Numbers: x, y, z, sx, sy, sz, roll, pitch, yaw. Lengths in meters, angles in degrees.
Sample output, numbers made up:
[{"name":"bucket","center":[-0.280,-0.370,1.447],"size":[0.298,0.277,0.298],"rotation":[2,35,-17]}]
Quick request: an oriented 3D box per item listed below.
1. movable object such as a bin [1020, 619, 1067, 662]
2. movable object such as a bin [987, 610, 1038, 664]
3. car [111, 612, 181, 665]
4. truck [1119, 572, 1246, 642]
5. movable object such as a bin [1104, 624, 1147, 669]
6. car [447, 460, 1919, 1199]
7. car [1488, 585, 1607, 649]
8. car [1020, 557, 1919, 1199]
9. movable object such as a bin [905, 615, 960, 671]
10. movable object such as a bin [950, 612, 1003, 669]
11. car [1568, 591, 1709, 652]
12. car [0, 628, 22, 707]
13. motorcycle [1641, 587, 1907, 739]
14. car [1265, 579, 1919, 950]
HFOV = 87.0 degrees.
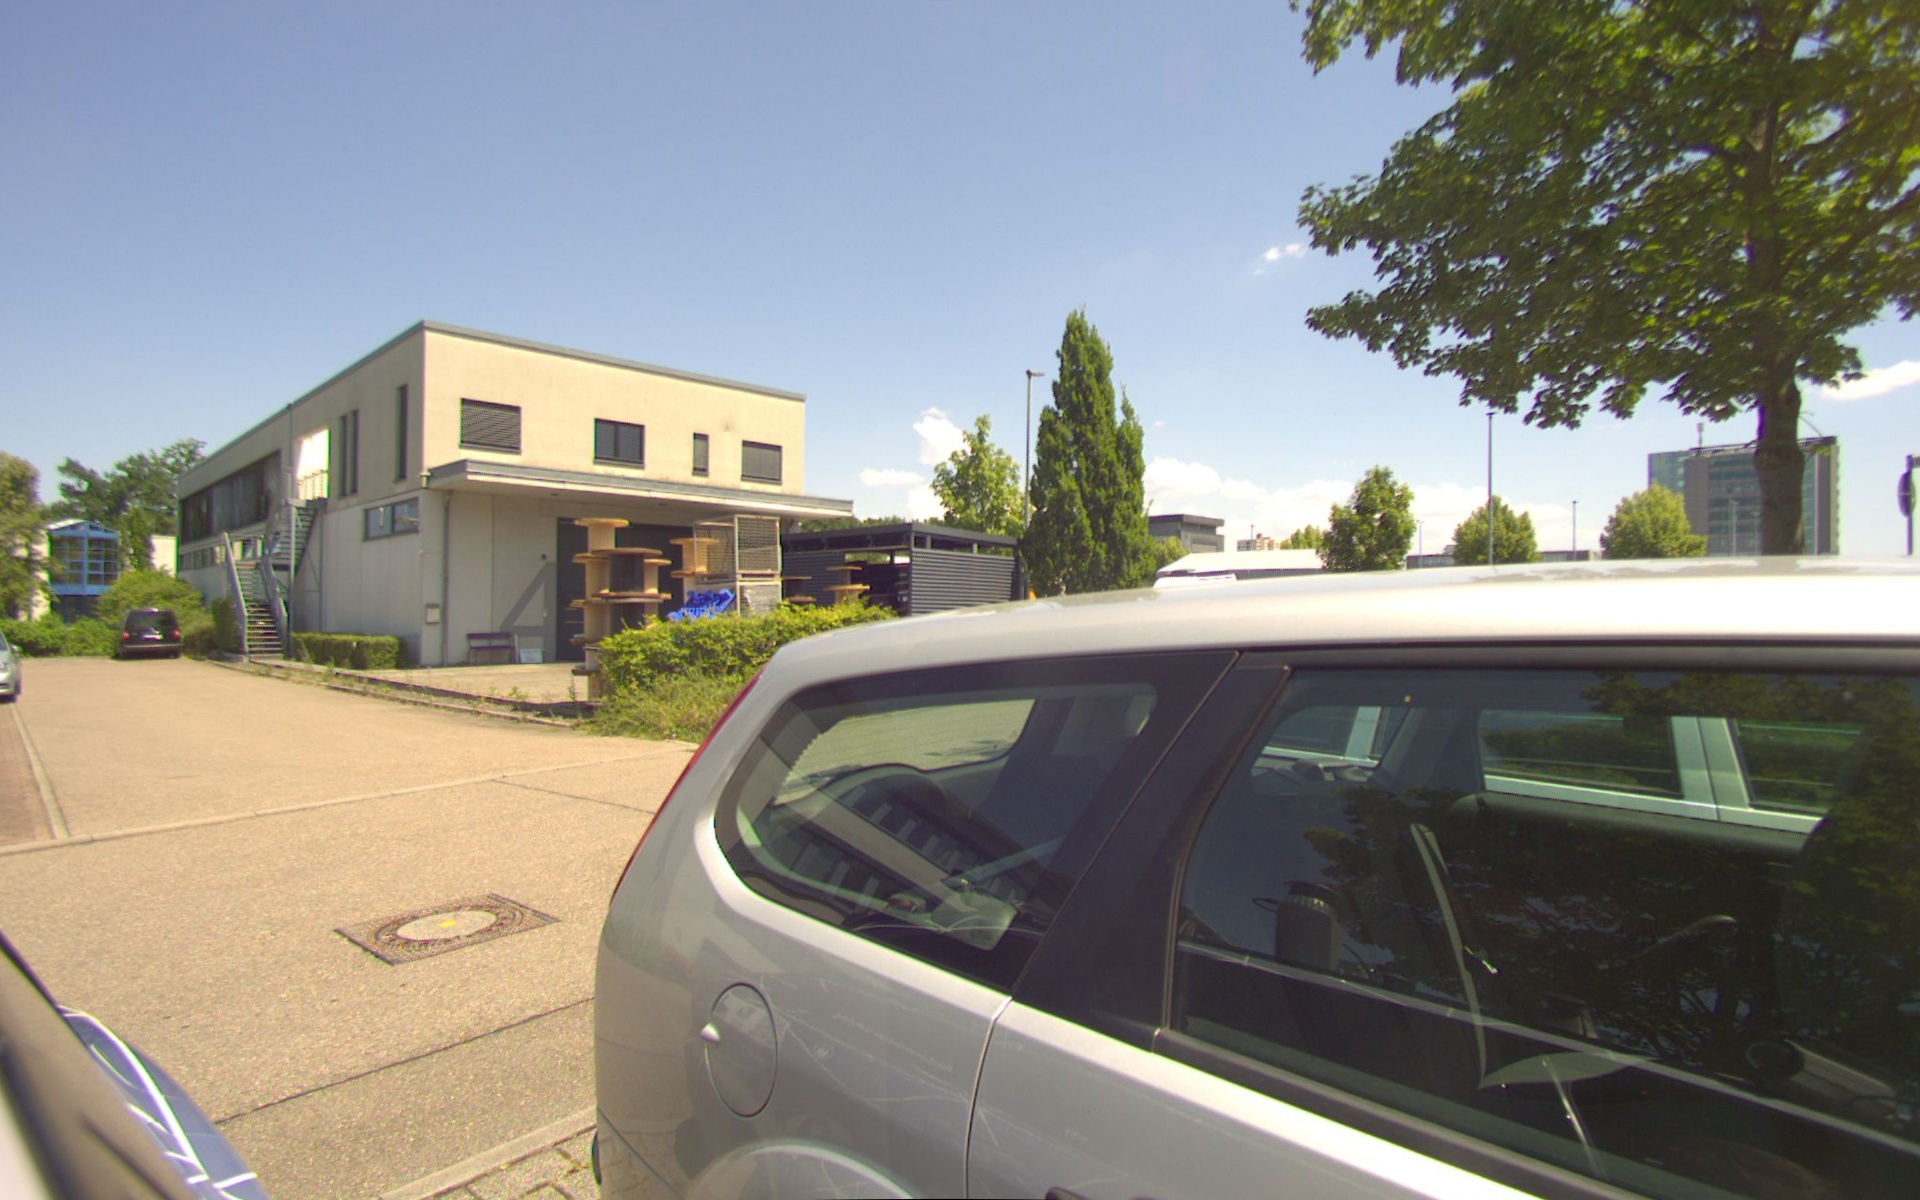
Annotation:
[{"name":"movable object such as a bin","center":[2.210,1.054,26.759],"size":[0.972,1.092,0.761],"rotation":[-1,-1,-40]},{"name":"movable object such as a bin","center":[1.357,0.938,26.079],"size":[1.056,1.346,0.761],"rotation":[-1,-1,-40]},{"name":"car","center":[-30.046,1.362,37.322],"size":[1.761,1.817,4.004],"rotation":[-1,0,-43]},{"name":"truck","center":[9.208,0.264,41.632],"size":[5.614,2.692,2.420],"rotation":[-1,-1,-45]},{"name":"movable object such as a bin","center":[3.764,1.048,23.093],"size":[0.581,0.977,0.761],"rotation":[-1,-1,-40]},{"name":"car","center":[1.299,0.659,1.009],"size":[4.346,1.490,1.702],"rotation":[-1,-1,41]},{"name":"car","center":[17.410,0.469,29.930],"size":[3.936,1.751,1.776],"rotation":[-1,0,-39]},{"name":"car","center":[2.251,0.654,3.129],"size":[3.886,1.490,1.632],"rotation":[-1,-1,38]},{"name":"movable object such as a bin","center":[-0.664,1.016,24.358],"size":[1.056,1.280,0.761],"rotation":[-1,-1,-40]},{"name":"movable object such as a bin","center":[0.415,0.988,25.135],"size":[1.056,1.346,0.761],"rotation":[-1,-1,-40]},{"name":"car","center":[18.603,0.549,27.717],"size":[3.932,1.533,1.658],"rotation":[-1,0,-31]},{"name":"car","center":[-19.077,1.249,19.231],"size":[1.686,1.402,3.817],"rotation":[1,-1,-41]},{"name":"motorcycle","center":[8.023,0.601,10.088],"size":[1.986,1.400,0.478],"rotation":[-2,-1,38]},{"name":"car","center":[3.726,0.654,5.057],"size":[3.886,1.459,1.632],"rotation":[-1,-1,38]}]
